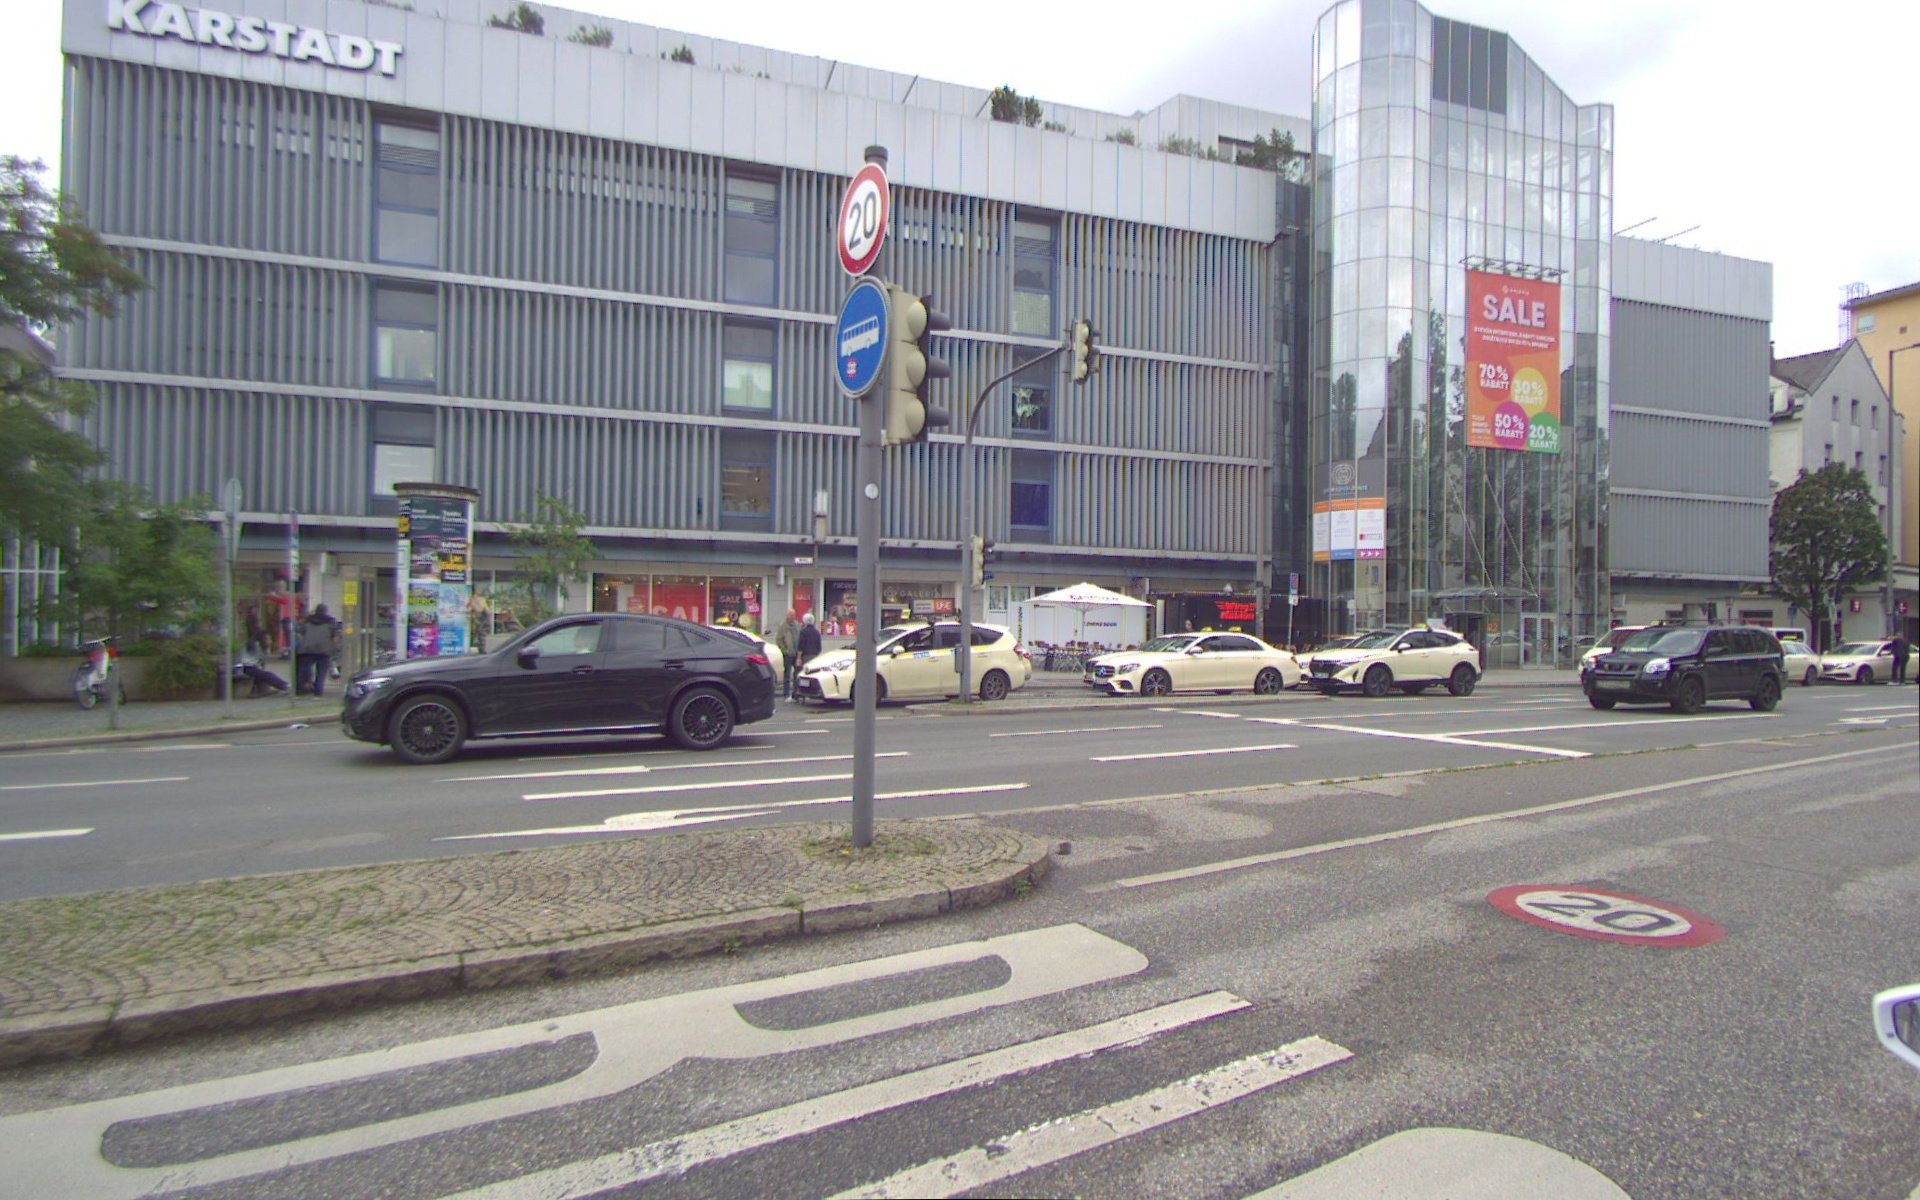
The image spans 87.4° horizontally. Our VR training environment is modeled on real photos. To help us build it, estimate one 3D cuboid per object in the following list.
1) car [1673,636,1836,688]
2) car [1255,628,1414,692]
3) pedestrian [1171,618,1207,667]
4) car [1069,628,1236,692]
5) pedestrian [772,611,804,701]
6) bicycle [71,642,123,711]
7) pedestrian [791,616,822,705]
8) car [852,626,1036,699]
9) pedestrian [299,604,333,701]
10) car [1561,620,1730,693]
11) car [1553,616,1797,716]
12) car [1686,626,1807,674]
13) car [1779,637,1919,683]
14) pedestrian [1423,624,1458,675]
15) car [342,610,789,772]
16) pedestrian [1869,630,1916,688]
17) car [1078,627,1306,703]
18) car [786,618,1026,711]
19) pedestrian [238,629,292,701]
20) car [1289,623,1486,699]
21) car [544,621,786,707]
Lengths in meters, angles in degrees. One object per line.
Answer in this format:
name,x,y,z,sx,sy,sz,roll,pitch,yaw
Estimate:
car,25.817,1.964,32.624,5.012,1.573,1.974,1,-2,-23
car,10.211,1.609,27.415,3.943,1.637,1.768,1,-2,-23
pedestrian,7.329,1.354,32.186,0.885,1.566,0.731,1,-1,-18
car,4.978,1.516,25.942,3.943,1.557,1.748,1,-2,-23
pedestrian,-3.400,1.100,19.851,0.424,1.752,0.521,2,0,-31
bicycle,-13.789,1.203,16.067,0.415,1.030,1.287,1,-2,-32
pedestrian,-2.955,1.159,19.338,0.420,1.677,0.362,2,0,-31
car,-0.375,1.424,23.855,3.950,1.587,1.899,1,-1,-28
pedestrian,-11.743,0.949,18.328,0.454,1.722,0.428,2,0,-31
car,20.593,1.665,30.136,5.255,2.040,1.986,2,-2,-28
car,14.172,1.243,19.905,4.536,1.801,1.988,1,-1,-25
car,34.898,2.181,44.572,5.038,2.040,1.990,1,-1,-22
car,30.837,2.048,34.346,4.899,1.488,1.858,1,-3,-15
pedestrian,17.460,1.801,36.516,0.805,1.829,0.788,1,-1,-19
car,-4.519,0.964,11.882,4.558,1.597,1.986,1,-2,-27
pedestrian,30.773,1.935,33.148,0.830,1.892,0.788,1,-1,-5
car,5.218,1.404,22.590,4.776,1.561,1.943,1,-1,-21
car,-0.981,1.193,19.432,4.426,1.633,1.579,2,-2,-32
pedestrian,-13.130,1.207,18.995,0.765,1.325,0.540,1,-1,-30
car,10.432,1.464,24.553,4.316,1.721,1.883,1,-3,-20
car,-5.758,1.198,19.976,1.835,1.530,4.271,-1,-2,45
